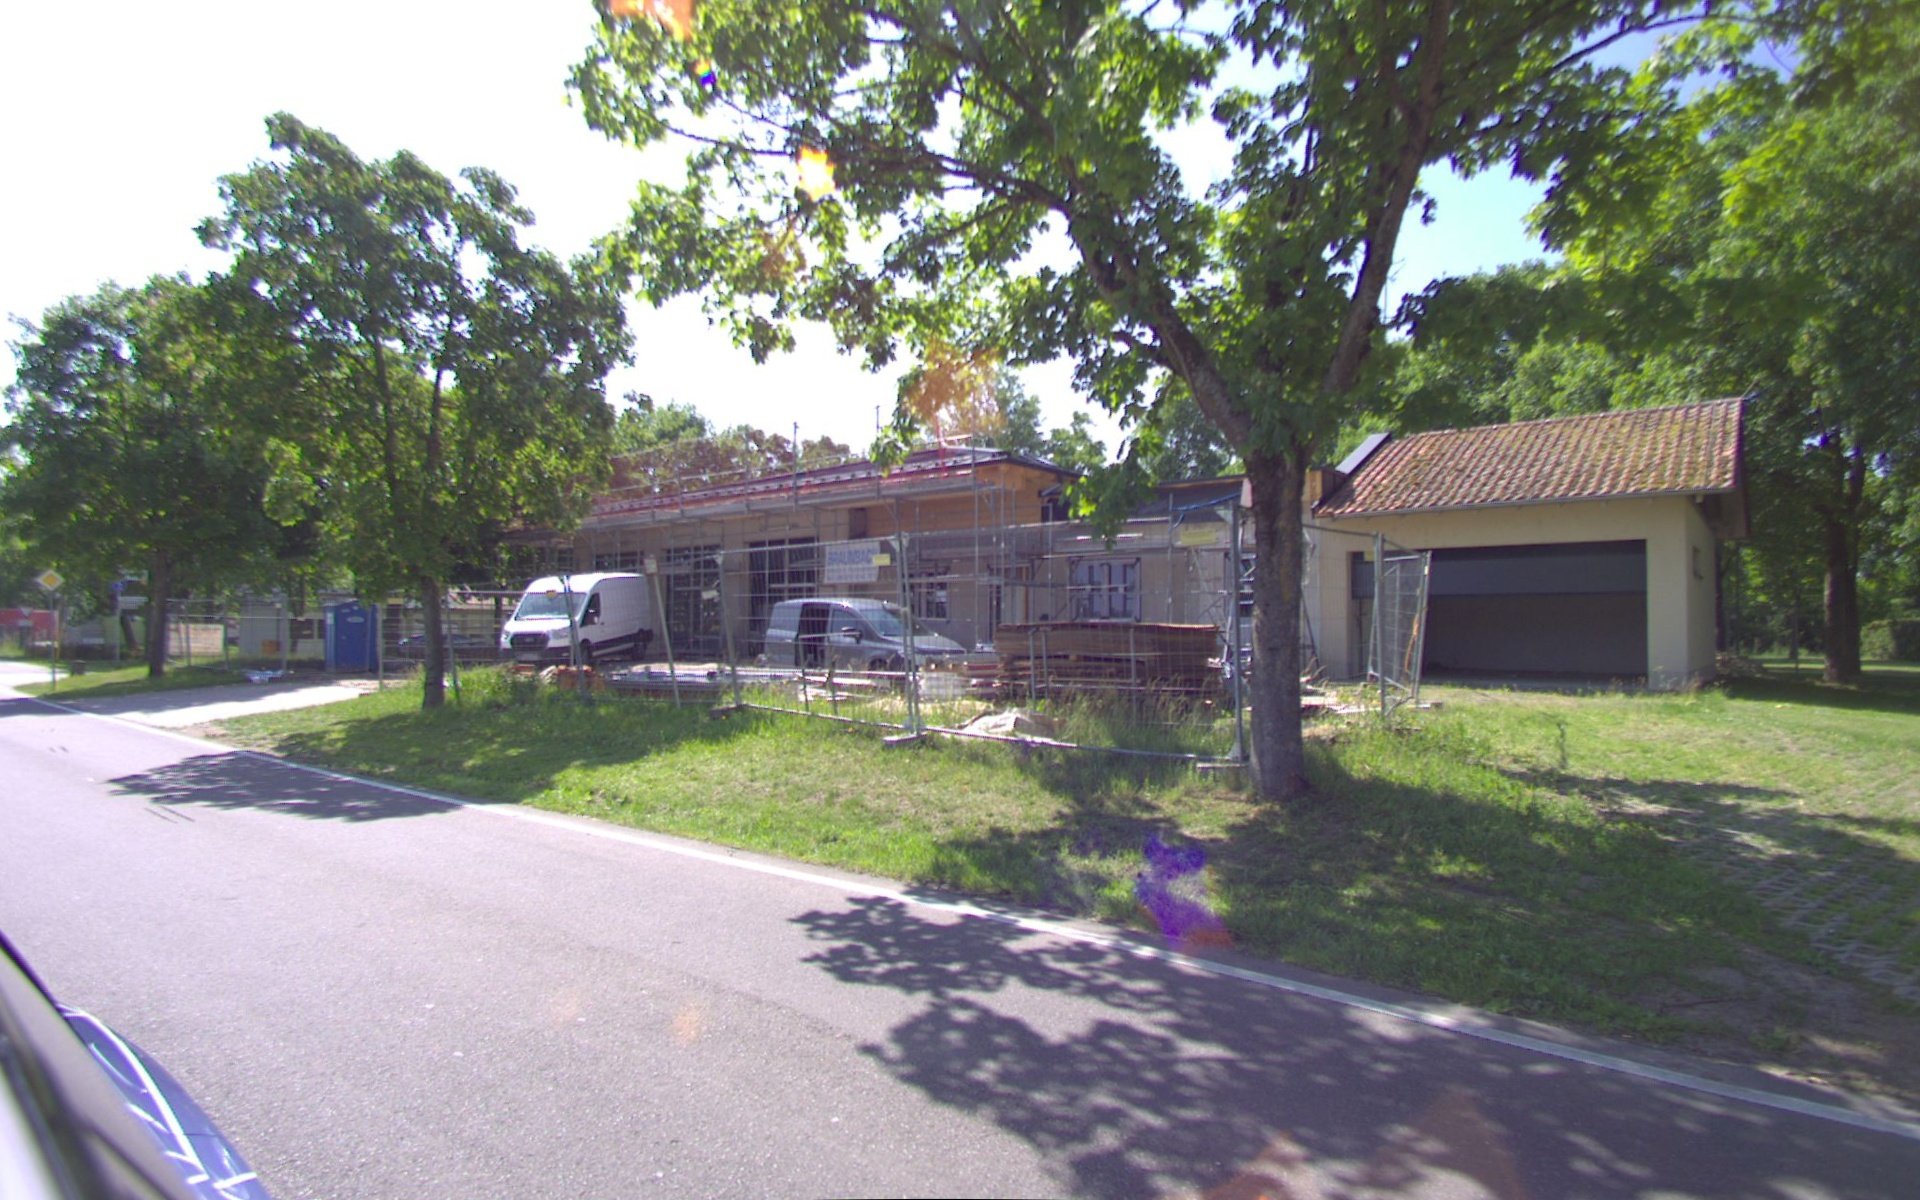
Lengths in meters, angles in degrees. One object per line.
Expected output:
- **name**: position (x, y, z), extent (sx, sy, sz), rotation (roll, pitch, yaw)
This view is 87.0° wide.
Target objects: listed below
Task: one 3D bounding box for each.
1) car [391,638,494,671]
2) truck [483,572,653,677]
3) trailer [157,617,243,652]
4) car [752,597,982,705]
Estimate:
- **car**: position (-23.335, 2.437, 45.704), extent (1.754, 1.410, 3.769), rotation (-1, -3, 33)
- **truck**: position (-10.267, 0.552, 27.121), extent (1.974, 2.502, 5.926), rotation (0, 1, 3)
- **trailer**: position (-50.941, 2.351, 67.901), extent (1.819, 2.295, 4.199), rotation (-1, -3, 27)
- **car**: position (-1.868, 0.937, 19.545), extent (4.325, 1.852, 1.950), rotation (-2, -2, 40)
